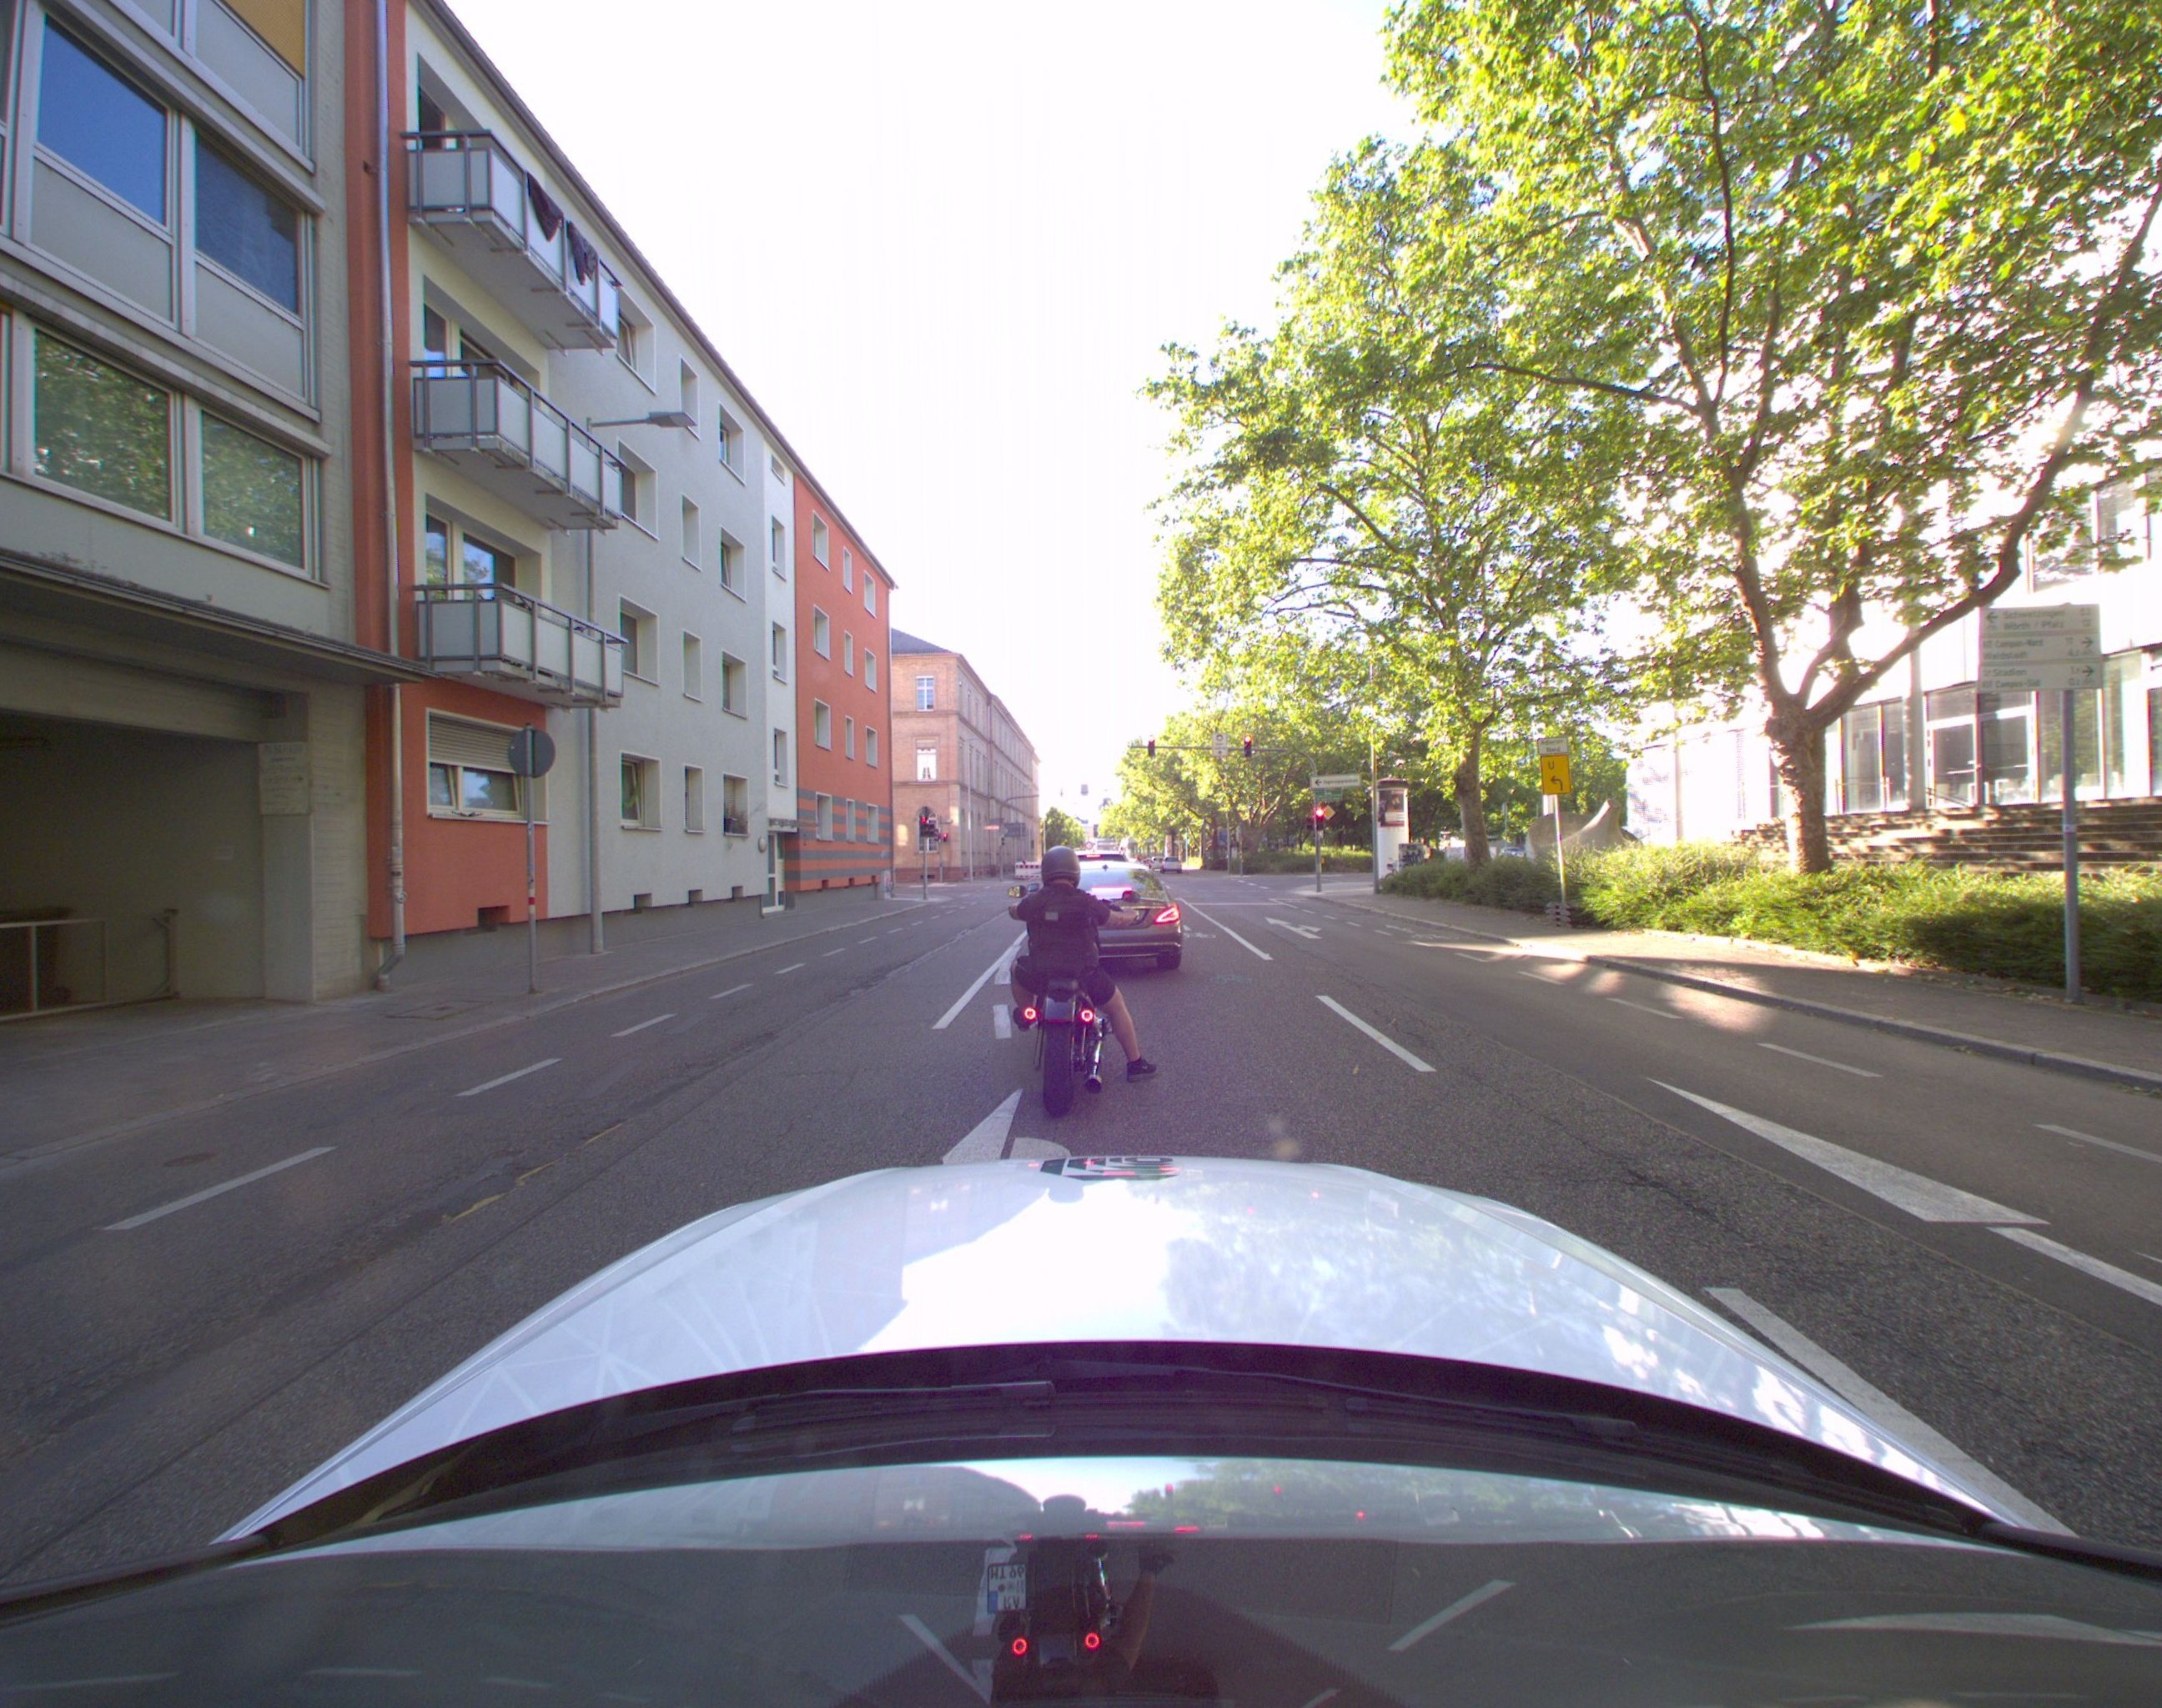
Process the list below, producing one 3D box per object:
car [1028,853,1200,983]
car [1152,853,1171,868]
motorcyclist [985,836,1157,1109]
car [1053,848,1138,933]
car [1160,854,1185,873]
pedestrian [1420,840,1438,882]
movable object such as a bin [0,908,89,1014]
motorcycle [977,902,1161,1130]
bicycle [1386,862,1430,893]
[{"bbox_3d":[0.257,0.744,11.719,1.943,1.473,4.355,-1,0,-5],"label":"car"},{"bbox_3d":[8.405,0.711,85.258,1.848,1.486,3.912,0,-1,3],"label":"car"},{"bbox_3d":[-0.036,0.701,5.528,0.986,1.597,1.404,-1,0,2],"label":"motorcyclist"},{"bbox_3d":[0.321,0.707,17.889,1.606,1.607,4.329,-1,0,1],"label":"car"},{"bbox_3d":[7.753,0.780,69.142,1.814,1.481,3.911,-3,0,3],"label":"car"},{"bbox_3d":[15.602,0.327,36.515,0.549,1.849,0.594,-1,0,3],"label":"pedestrian"},{"bbox_3d":[-11.316,1.116,8.682,0.593,1.041,0.703,0,-1,1],"label":"movable object such as a bin"},{"bbox_3d":[-0.028,0.960,5.681,0.986,1.078,2.453,-1,0,2],"label":"motorcycle"},{"bbox_3d":[11.040,0.793,27.510,1.346,1.023,0.363,-1,0,2],"label":"bicycle"}]
